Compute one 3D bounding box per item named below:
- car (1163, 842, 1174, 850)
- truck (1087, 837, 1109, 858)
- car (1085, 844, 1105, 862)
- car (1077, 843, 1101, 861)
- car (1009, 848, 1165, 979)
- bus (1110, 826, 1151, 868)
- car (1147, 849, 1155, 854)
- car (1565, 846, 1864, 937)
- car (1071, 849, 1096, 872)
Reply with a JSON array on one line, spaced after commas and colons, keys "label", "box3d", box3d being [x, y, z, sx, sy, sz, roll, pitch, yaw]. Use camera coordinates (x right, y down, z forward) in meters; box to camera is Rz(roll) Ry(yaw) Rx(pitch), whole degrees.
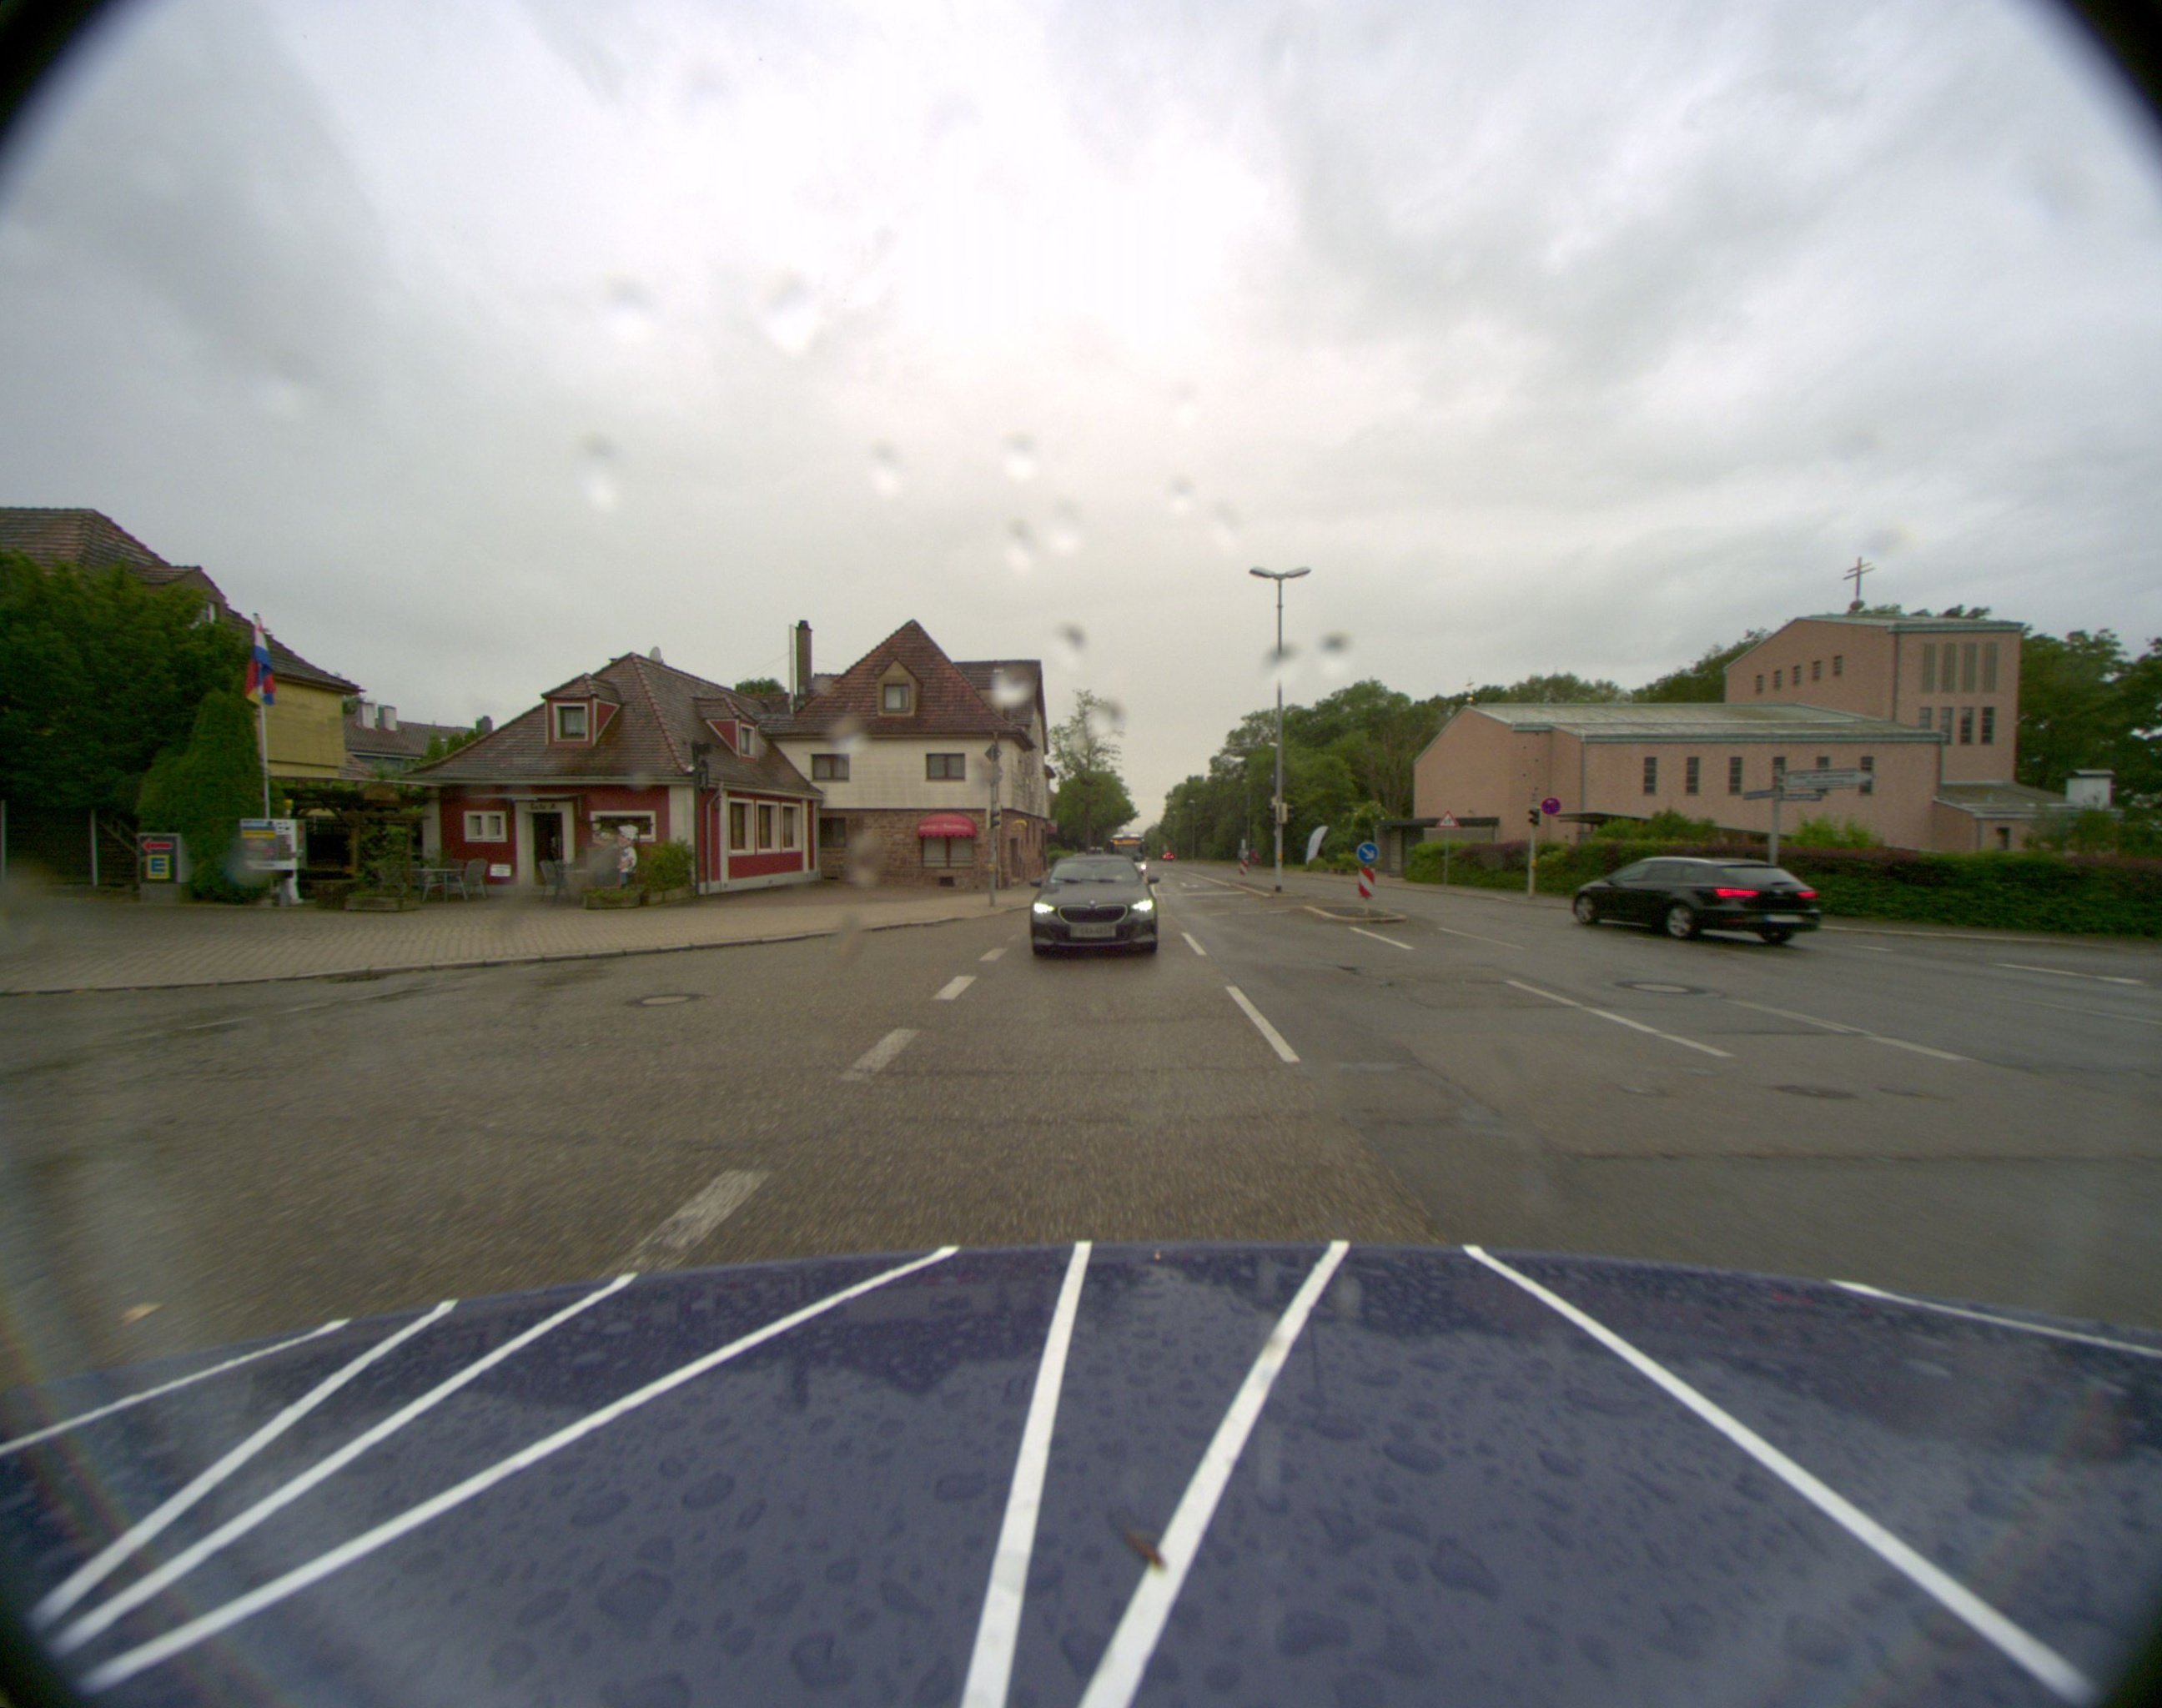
[{"label": "car", "box3d": [17.509, -1.643, 152.461, 1.913, 1.581, 4.317, -1, 1, 1]}, {"label": "truck", "box3d": [1.819, -0.687, 80.486, 1.998, 2.184, 5.757, 0, 1, 5]}, {"label": "car", "box3d": [1.331, -0.103, 69.951, 1.719, 1.456, 4.000, 2, 2, 3]}, {"label": "car", "box3d": [0.731, -0.201, 64.521, 1.719, 1.416, 4.000, 2, 2, 4]}, {"label": "car", "box3d": [0.229, 0.739, 11.637, 1.882, 1.520, 4.317, -3, 1, 4]}, {"label": "bus", "box3d": [3.902, -0.575, 58.189, 2.766, 2.858, 9.404, -2, 1, 5]}, {"label": "car", "box3d": [21.229, -0.800, 230.724, 1.915, 1.446, 4.948, 3, 2, 2]}, {"label": "car", "box3d": [11.242, 0.579, 14.010, 1.913, 1.419, 4.416, 0, 0, 1]}, {"label": "car", "box3d": [0.204, 0.462, 54.214, 1.614, 1.495, 3.757, -2, -1, 1]}]
